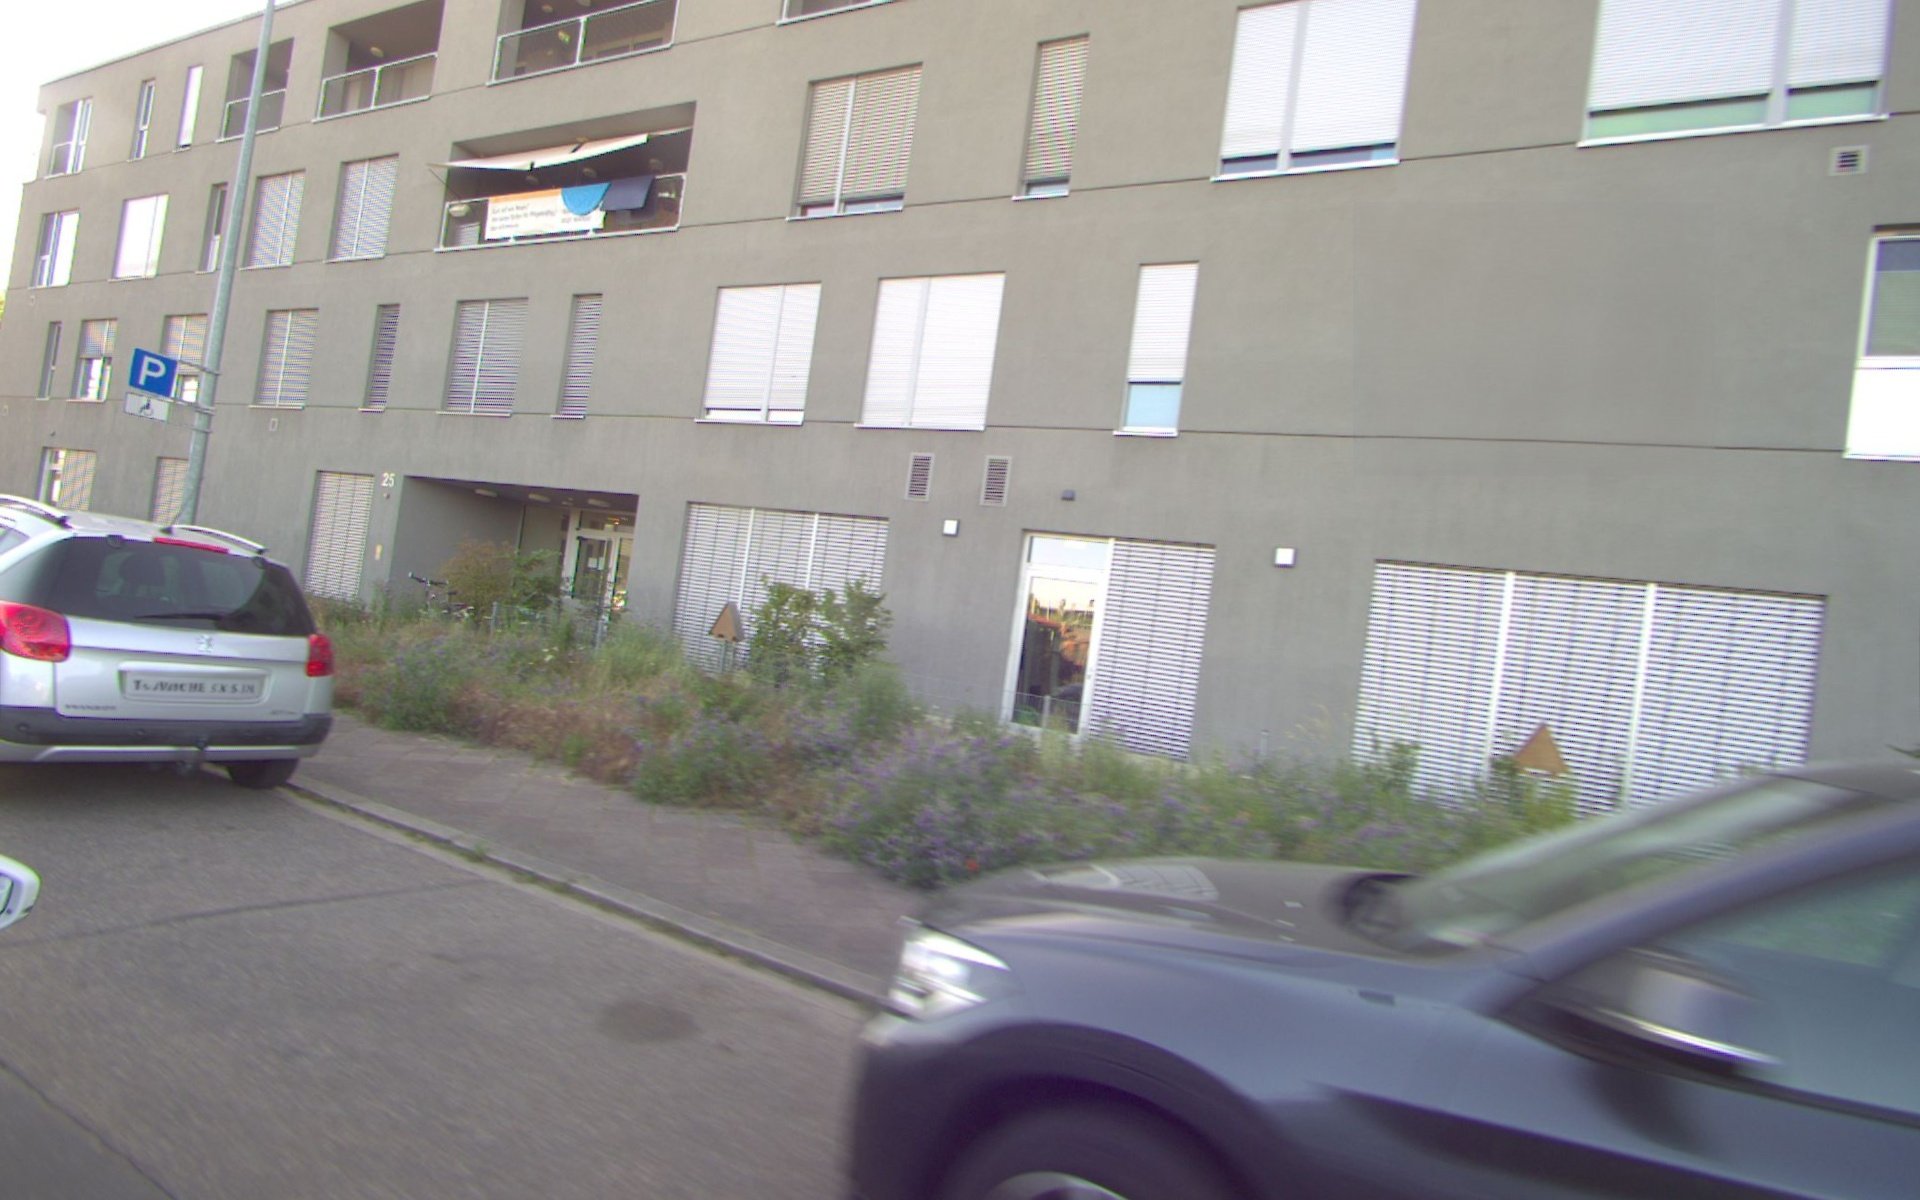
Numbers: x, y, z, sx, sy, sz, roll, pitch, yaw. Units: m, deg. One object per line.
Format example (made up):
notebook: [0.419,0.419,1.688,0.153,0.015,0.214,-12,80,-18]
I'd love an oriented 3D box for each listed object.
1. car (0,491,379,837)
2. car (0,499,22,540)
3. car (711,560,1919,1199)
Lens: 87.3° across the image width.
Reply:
car: [-5.617,0.204,6.168,3.784,1.567,1.663,7,-4,29]
car: [-38.693,-3.420,38.855,1.426,1.476,3.226,7,-4,31]
car: [1.735,1.061,1.961,4.106,1.642,1.748,7,-4,29]
